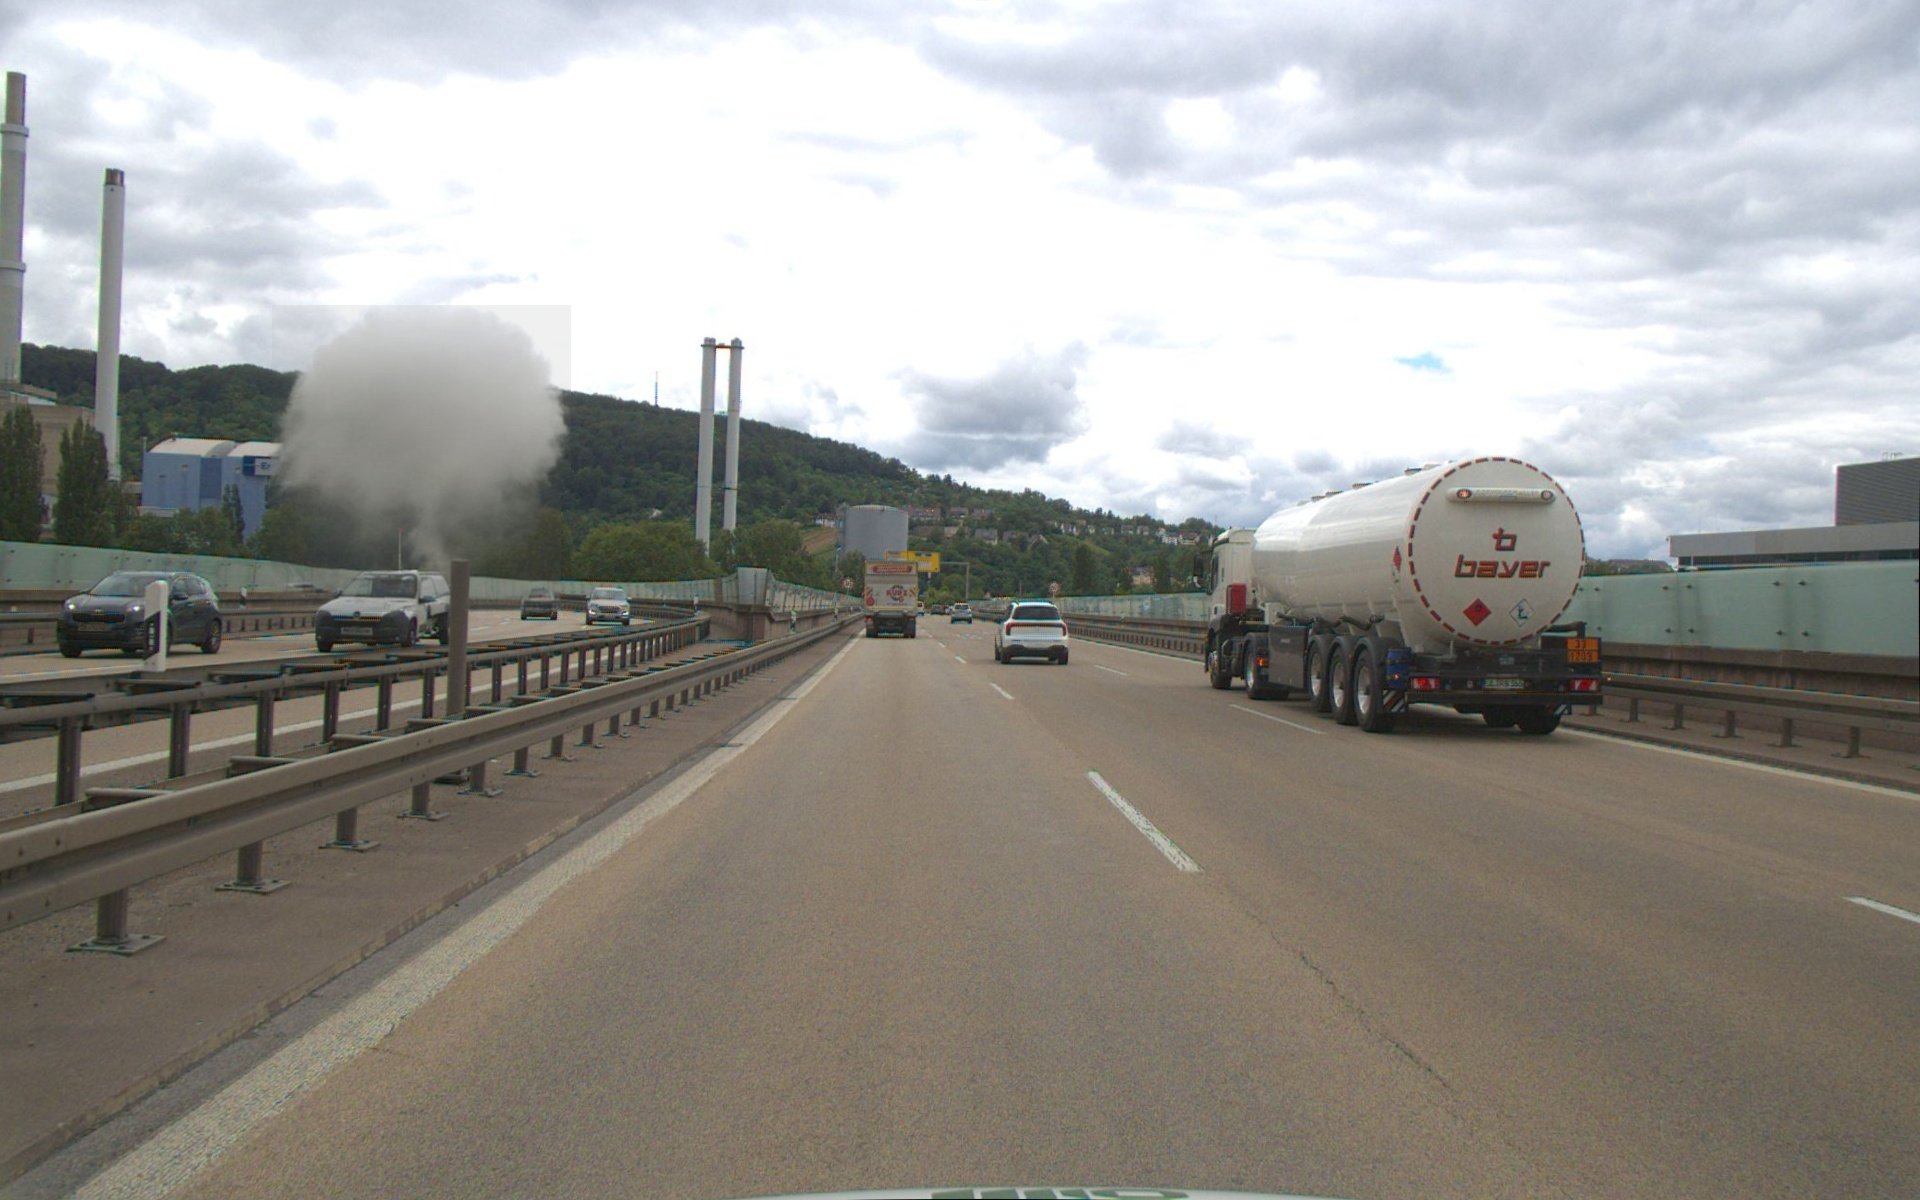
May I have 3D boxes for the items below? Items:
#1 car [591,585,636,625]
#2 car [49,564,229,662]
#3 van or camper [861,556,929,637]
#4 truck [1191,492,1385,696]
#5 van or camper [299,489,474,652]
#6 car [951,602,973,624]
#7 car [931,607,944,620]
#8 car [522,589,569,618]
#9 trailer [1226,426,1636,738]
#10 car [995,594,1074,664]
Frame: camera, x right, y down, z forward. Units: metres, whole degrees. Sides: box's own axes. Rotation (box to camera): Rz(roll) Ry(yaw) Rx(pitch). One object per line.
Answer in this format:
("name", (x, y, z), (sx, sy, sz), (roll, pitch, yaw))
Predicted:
("car", (-15.406, 0.198, 73.658), (1.811, 1.702, 4.397), (1, 0, -10))
("car", (-16.007, 0.226, 32.511), (1.721, 1.778, 4.363), (1, 0, -6))
("van or camper", (-3.088, -0.116, 80.351), (3.058, 3.642, 8.547), (1, -1, -1))
("truck", (6.180, -0.086, 31.832), (2.578, 3.575, 4.902), (1, 0, -2))
("van or camper", (-13.326, -0.604, 38.968), (2.359, 3.447, 6.944), (1, -1, -7))
("car", (0.176, 1.078, 142.130), (1.884, 1.817, 4.113), (1, 0, 0))
("car", (-3.260, 1.945, 239.723), (1.885, 1.817, 4.111), (1, 0, -2))
("car", (-21.487, 0.183, 85.846), (1.726, 1.457, 4.391), (1, 0, -6))
("trailer", (6.412, -0.156, 24.907), (2.597, 3.605, 11.215), (1, -1, -2))
("car", (2.024, 0.782, 46.110), (1.885, 1.817, 4.111), (1, 0, -2))
